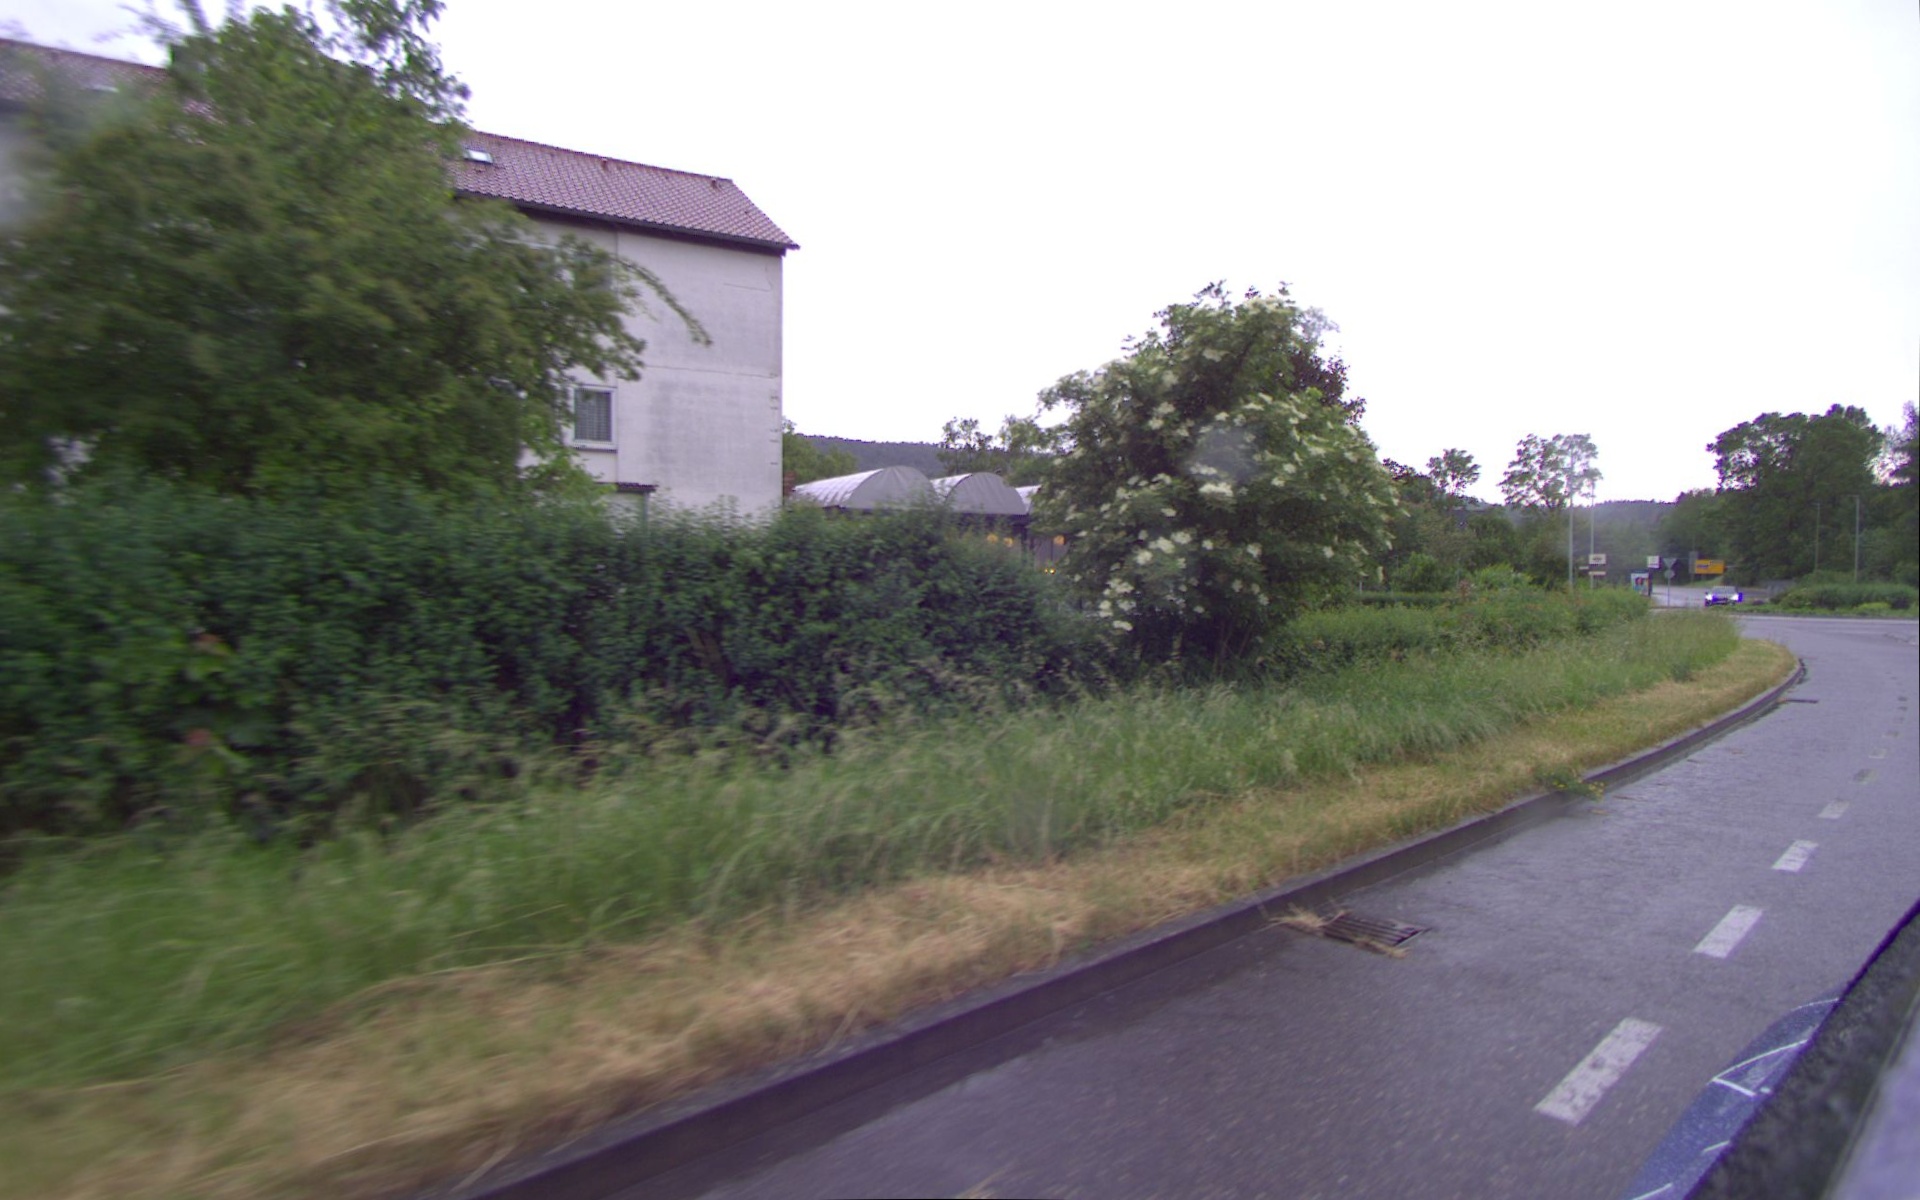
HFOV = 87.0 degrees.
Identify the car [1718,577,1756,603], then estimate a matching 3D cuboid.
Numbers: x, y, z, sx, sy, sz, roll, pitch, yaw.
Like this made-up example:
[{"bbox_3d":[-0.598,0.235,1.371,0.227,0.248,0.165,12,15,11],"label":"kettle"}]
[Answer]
[{"bbox_3d":[51.403,-0.682,67.020,1.871,1.625,3.947,3,3,37],"label":"car"}]
